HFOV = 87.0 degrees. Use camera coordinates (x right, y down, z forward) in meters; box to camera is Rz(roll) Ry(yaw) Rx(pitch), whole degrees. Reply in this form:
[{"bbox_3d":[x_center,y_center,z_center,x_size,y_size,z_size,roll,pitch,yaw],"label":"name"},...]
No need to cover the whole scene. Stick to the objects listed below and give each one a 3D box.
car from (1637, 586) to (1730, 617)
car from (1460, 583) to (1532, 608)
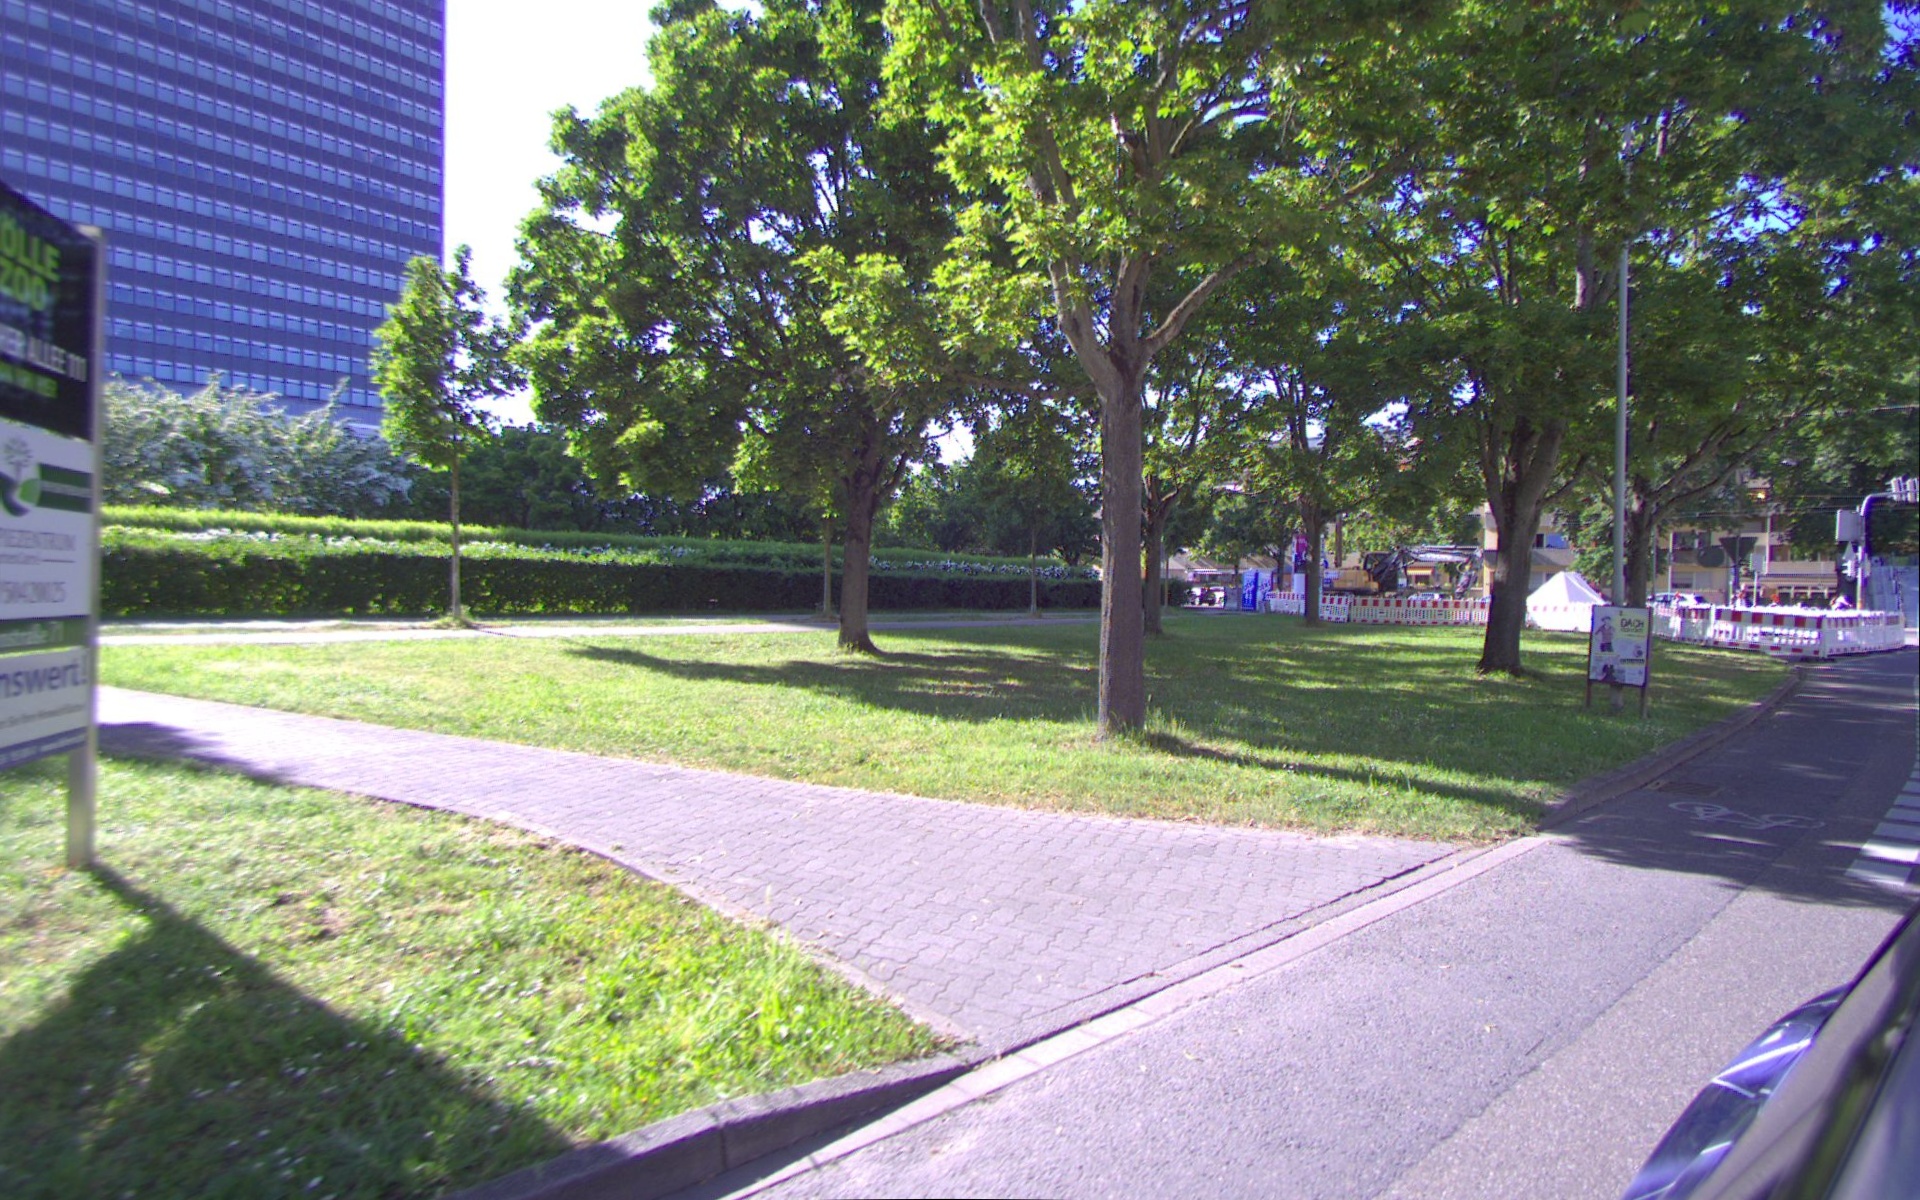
[{"bbox_3d":[40.235,0.053,56.384,1.890,1.573,3.763,0,2,-27],"label":"car"},{"bbox_3d":[35.103,-0.322,66.328,1.890,1.573,3.763,0,2,-27],"label":"car"}]
